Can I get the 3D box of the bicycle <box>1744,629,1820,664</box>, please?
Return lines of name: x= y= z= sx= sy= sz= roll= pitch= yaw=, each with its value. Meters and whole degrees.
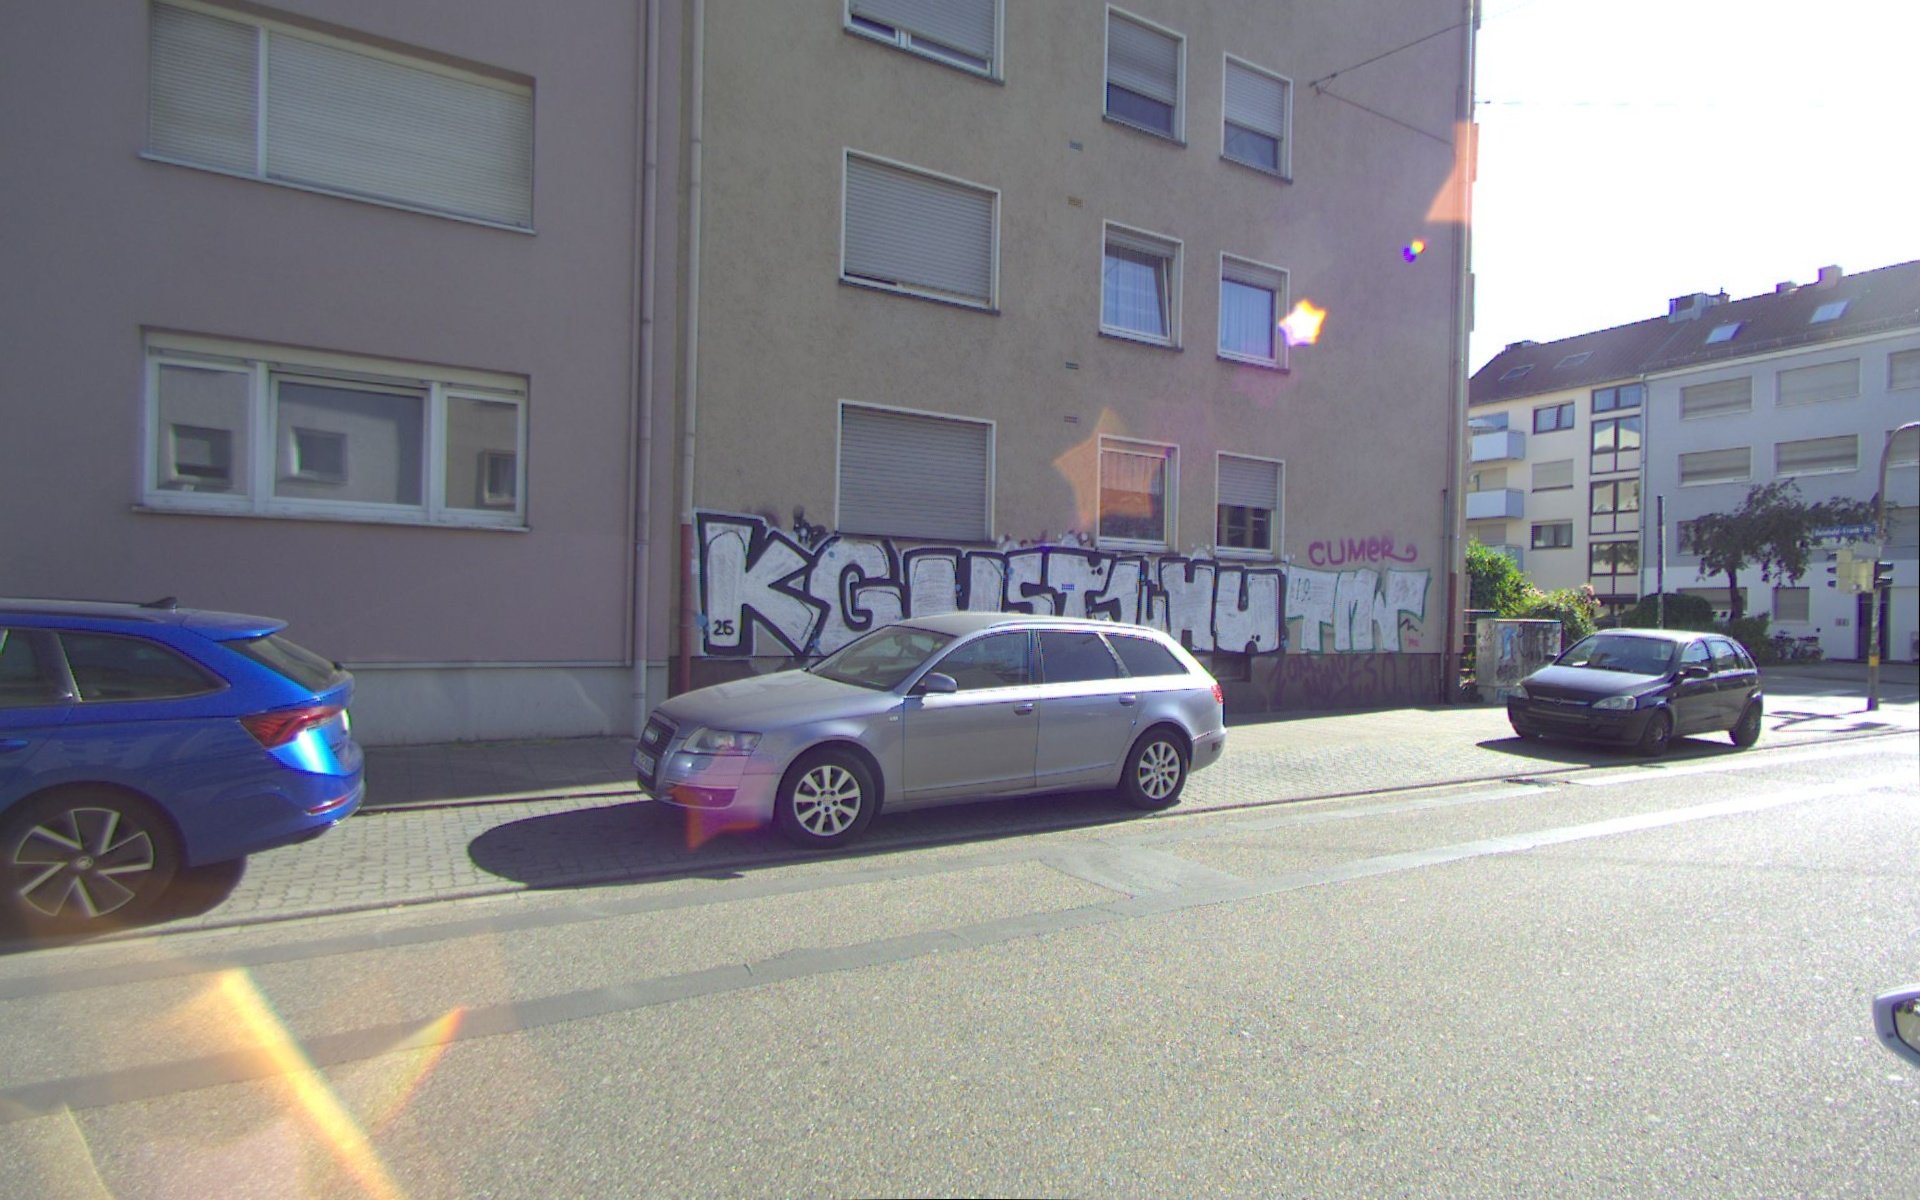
bicycle: x=29.729 y=1.651 z=36.363 sx=2.068 sy=1.188 sz=0.738 roll=0 pitch=-1 yaw=37

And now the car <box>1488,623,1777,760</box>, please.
car: x=8.615 y=1.074 z=12.813 sx=3.667 sy=1.444 sz=1.608 roll=1 pitch=1 yaw=-31

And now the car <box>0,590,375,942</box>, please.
car: x=-5.355 y=0.698 z=4.618 sx=4.558 sy=1.485 sz=1.709 roll=1 pitch=1 yaw=-30

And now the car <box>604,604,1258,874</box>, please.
car: x=-0.072 y=0.844 z=7.675 sx=4.759 sy=1.485 sz=1.708 roll=1 pitch=1 yaw=-31
